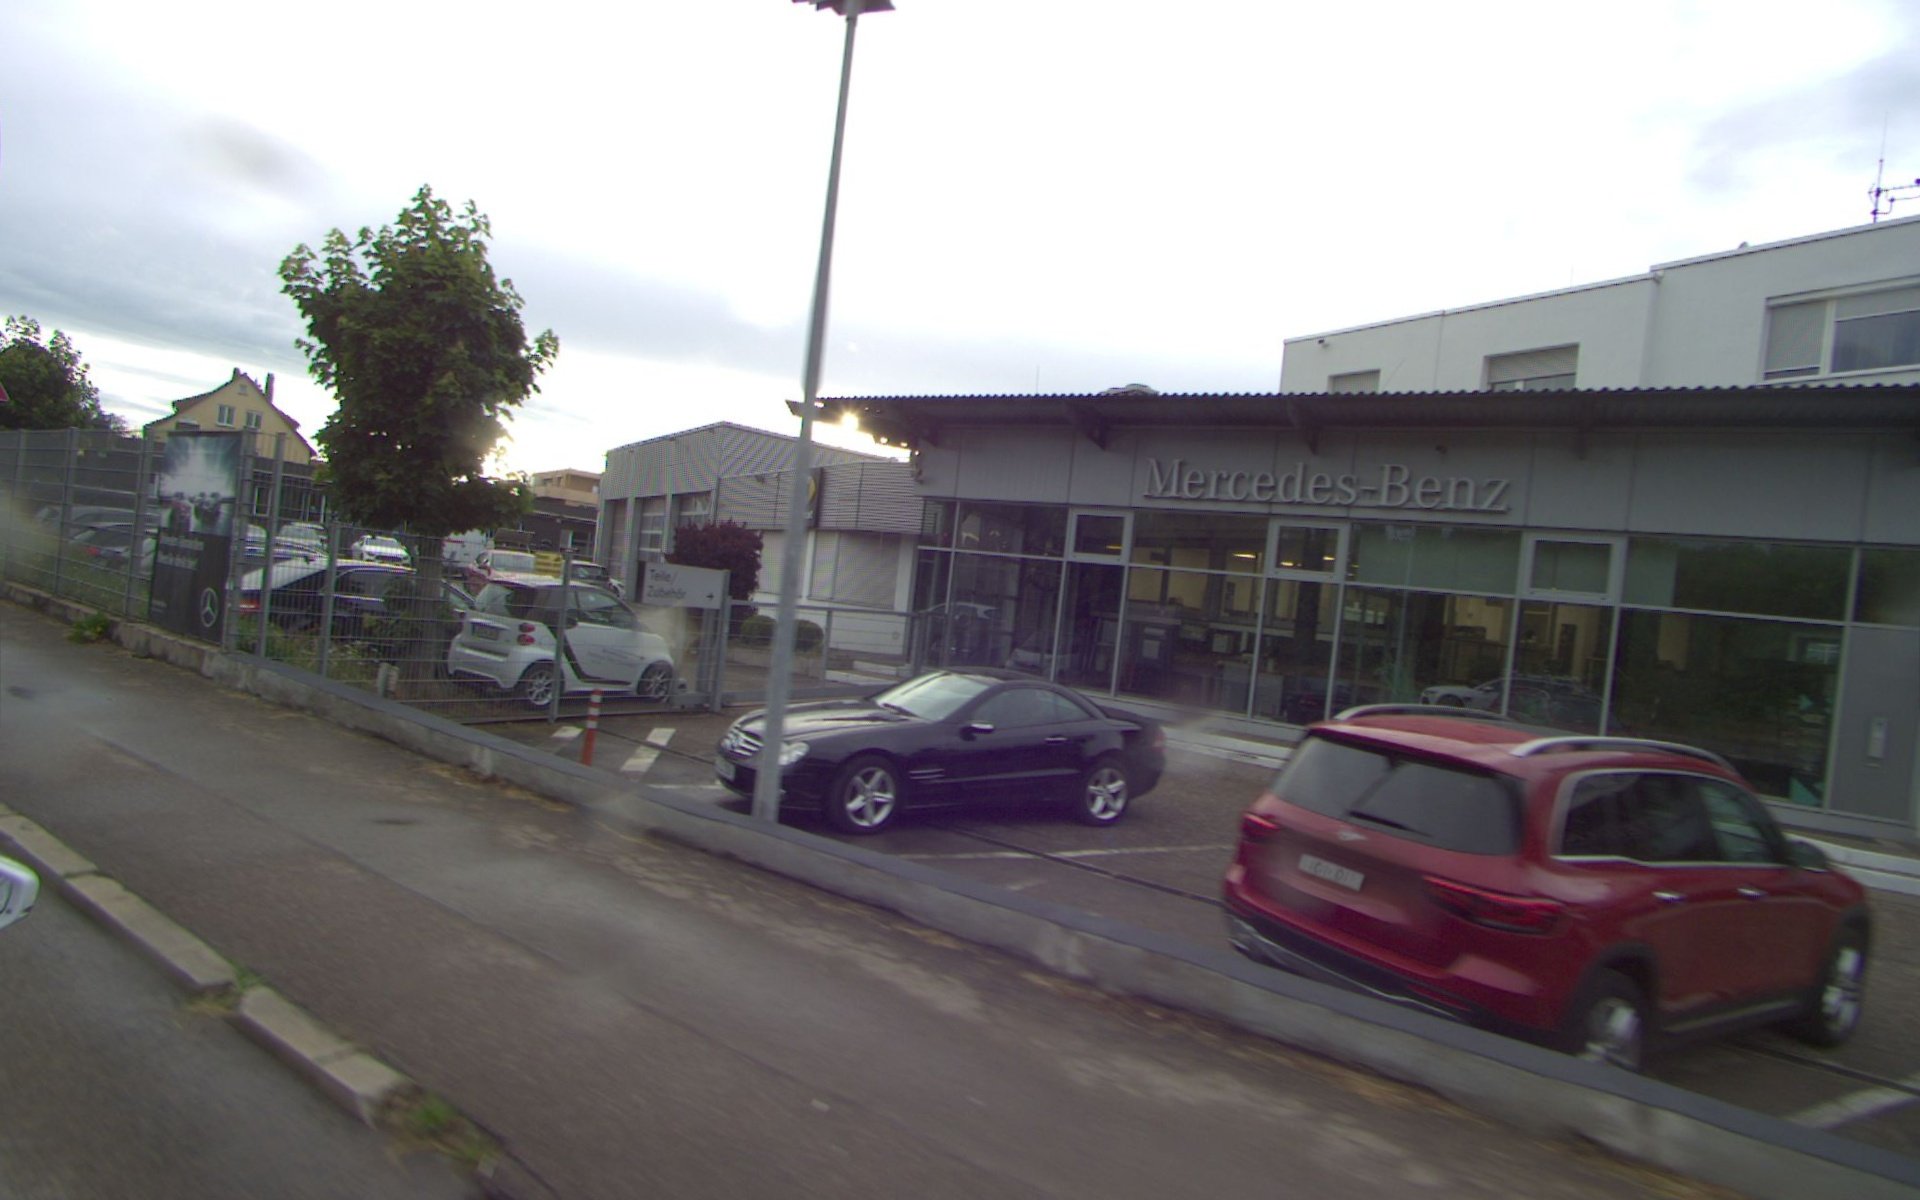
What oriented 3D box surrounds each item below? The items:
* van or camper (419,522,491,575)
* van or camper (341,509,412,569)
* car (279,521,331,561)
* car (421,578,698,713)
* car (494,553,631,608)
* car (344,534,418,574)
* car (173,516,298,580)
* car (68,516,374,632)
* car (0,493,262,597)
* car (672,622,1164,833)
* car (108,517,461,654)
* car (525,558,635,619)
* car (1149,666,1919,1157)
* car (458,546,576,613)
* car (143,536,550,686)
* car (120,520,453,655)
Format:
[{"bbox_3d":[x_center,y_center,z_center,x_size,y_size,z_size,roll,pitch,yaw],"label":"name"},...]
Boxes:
[{"bbox_3d":[-22.997,-2.278,45.677,1.983,1.959,5.383,9,-4,-34],"label":"van or camper"},{"bbox_3d":[-29.576,-3.130,50.892,2.320,2.589,5.682,6,0,-36],"label":"van or camper"},{"bbox_3d":[-31.418,-2.827,48.224,1.630,1.591,3.359,7,0,-39],"label":"car"},{"bbox_3d":[-5.265,0.591,13.414,1.968,1.463,2.719,5,0,34],"label":"car"},{"bbox_3d":[-15.423,-0.722,39.159,4.609,1.415,1.706,10,-4,-33],"label":"car"},{"bbox_3d":[-26.135,-2.089,45.336,1.886,1.435,4.415,11,-4,-41],"label":"car"},{"bbox_3d":[-22.287,-1.610,30.886,4.234,1.523,1.786,5,-4,37],"label":"car"},{"bbox_3d":[-13.260,-0.425,18.252,1.970,1.419,3.990,5,-4,38],"label":"car"},{"bbox_3d":[-17.166,-1.088,20.907,1.765,1.419,3.985,5,-4,42],"label":"car"},{"bbox_3d":[-0.316,1.219,9.373,4.122,1.458,1.795,8,-1,-31],"label":"car"},{"bbox_3d":[-9.896,-0.125,15.091,1.567,1.423,3.998,6,-4,31],"label":"car"},{"bbox_3d":[-11.632,-0.375,30.630,1.985,1.435,3.962,10,-4,-37],"label":"car"},{"bbox_3d":[3.579,1.544,5.829,4.653,1.680,1.985,10,-4,-32],"label":"car"},{"bbox_3d":[-12.088,-0.566,27.322,1.985,1.435,3.962,10,-4,-37],"label":"car"},{"bbox_3d":[-7.966,0.236,13.464,1.968,1.384,4.116,6,-4,33],"label":"car"},{"bbox_3d":[-11.297,-0.140,17.149,1.939,1.615,4.178,5,-4,36],"label":"car"}]
